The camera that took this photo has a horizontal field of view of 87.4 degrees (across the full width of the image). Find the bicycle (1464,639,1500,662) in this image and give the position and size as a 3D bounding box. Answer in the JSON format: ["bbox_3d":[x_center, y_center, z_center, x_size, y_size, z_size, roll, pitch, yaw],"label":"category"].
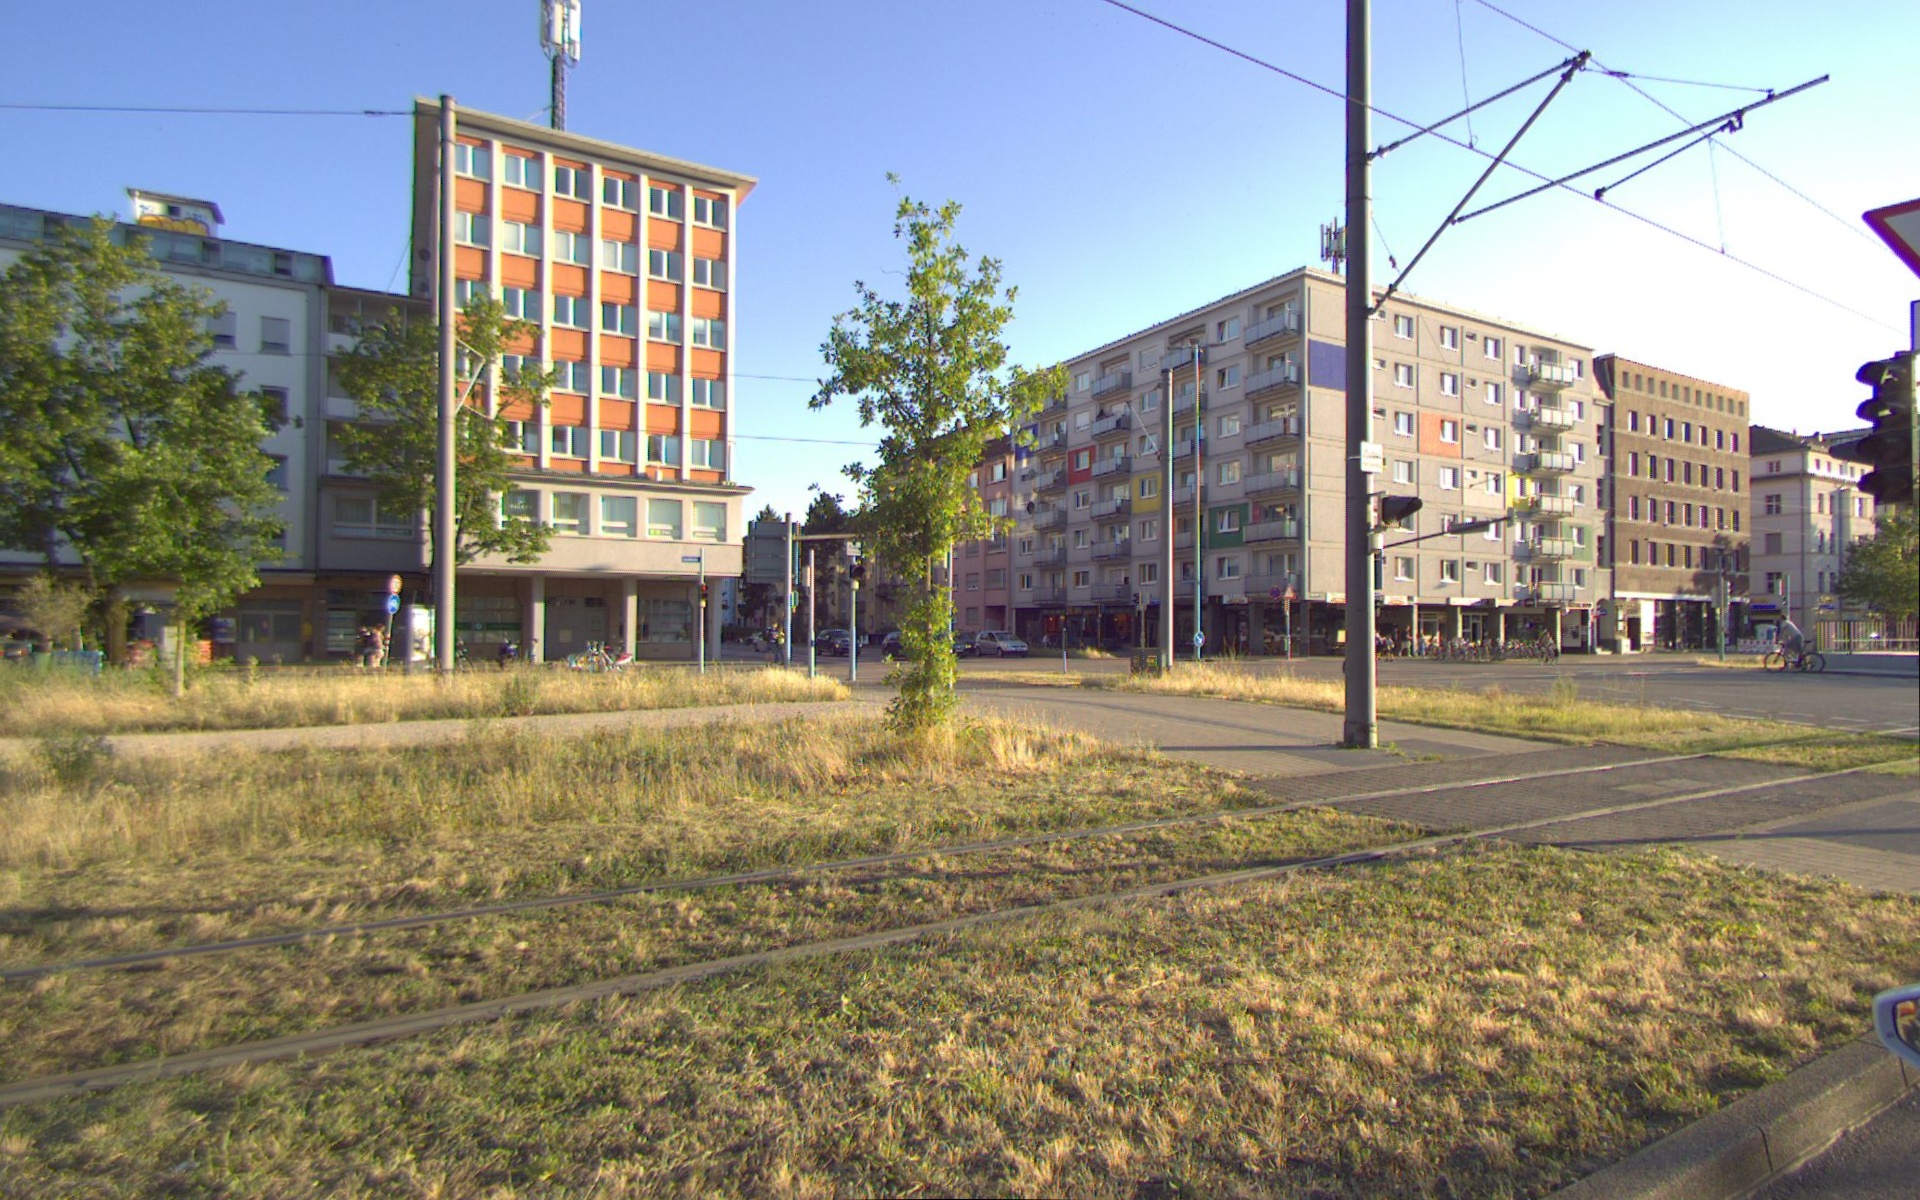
[{"bbox_3d":[28.199,2.730,54.277,0.534,1.183,1.758,1,-1,-29],"label":"bicycle"}]

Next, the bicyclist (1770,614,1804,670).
[{"bbox_3d":[27.632,1.408,33.551,0.642,1.842,0.785,1,-2,-43],"label":"bicyclist"}]

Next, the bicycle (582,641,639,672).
[{"bbox_3d":[-12.558,2.022,36.085,1.885,1.089,0.465,1,-1,-31],"label":"bicycle"}]

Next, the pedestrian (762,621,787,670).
[{"bbox_3d":[-7.569,1.857,40.970,0.708,1.972,0.720,-1,-2,43],"label":"pedestrian"}]

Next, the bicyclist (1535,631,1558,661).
[{"bbox_3d":[28.867,2.260,49.463,0.841,1.445,0.501,0,-1,-3],"label":"bicyclist"}]

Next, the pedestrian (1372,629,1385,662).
[{"bbox_3d":[21.329,2.307,51.189,0.563,1.641,0.602,0,-1,29],"label":"pedestrian"}]

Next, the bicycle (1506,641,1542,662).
[{"bbox_3d":[31.541,2.858,56.235,0.545,1.132,1.747,1,-1,-29],"label":"bicycle"}]

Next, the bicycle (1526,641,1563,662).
[{"bbox_3d":[33.216,2.927,57.094,0.696,1.168,1.684,1,-1,-28],"label":"bicycle"}]

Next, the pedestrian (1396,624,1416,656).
[{"bbox_3d":[25.832,2.316,58.174,0.715,1.836,0.820,1,-1,-40],"label":"pedestrian"}]

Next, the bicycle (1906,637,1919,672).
[{"bbox_3d":[31.515,1.759,31.854,0.534,1.098,2.147,2,-1,-38],"label":"bicycle"}]

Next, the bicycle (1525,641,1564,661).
[{"bbox_3d":[28.773,2.506,49.457,1.636,0.957,0.509,0,-1,-3],"label":"bicycle"}]

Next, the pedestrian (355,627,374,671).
[{"bbox_3d":[-24.408,2.013,41.178,0.623,1.792,0.593,1,-1,-30],"label":"pedestrian"}]

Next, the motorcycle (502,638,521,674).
[{"bbox_3d":[-17.002,2.107,38.072,0.538,1.335,1.823,1,-1,-27],"label":"motorcycle"}]

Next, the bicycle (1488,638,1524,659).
[{"bbox_3d":[30.703,2.739,56.518,0.598,1.151,1.763,1,-1,-29],"label":"bicycle"}]

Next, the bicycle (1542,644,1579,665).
[{"bbox_3d":[34.547,3.134,57.816,0.739,1.185,1.684,1,-1,-28],"label":"bicycle"}]

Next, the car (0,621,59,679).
[{"bbox_3d":[-30.093,1.472,30.237,3.927,1.706,1.997,1,-1,-9],"label":"car"}]

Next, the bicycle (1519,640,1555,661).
[{"bbox_3d":[32.605,2.873,56.803,0.626,1.139,1.720,2,-2,-28],"label":"bicycle"}]

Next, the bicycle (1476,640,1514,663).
[{"bbox_3d":[29.258,2.795,54.906,0.644,1.206,1.780,1,-2,-30],"label":"bicycle"}]

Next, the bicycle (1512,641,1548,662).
[{"bbox_3d":[32.046,2.886,56.518,0.561,1.134,1.753,1,-1,-29],"label":"bicycle"}]

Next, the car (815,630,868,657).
[{"bbox_3d":[-7.291,2.629,61.474,1.975,1.551,3.971,1,-1,-28],"label":"car"}]

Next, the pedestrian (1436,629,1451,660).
[{"bbox_3d":[26.719,2.472,55.537,0.542,1.706,0.574,1,-2,-39],"label":"pedestrian"}]

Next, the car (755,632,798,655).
[{"bbox_3d":[-13.186,3.077,72.124,1.975,1.551,3.971,1,-2,-28],"label":"car"}]

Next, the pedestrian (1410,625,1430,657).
[{"bbox_3d":[26.334,2.338,57.462,0.728,1.866,0.780,1,-2,-38],"label":"pedestrian"}]

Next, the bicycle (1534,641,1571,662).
[{"bbox_3d":[33.879,2.936,57.447,0.739,1.194,1.684,1,-1,-28],"label":"bicycle"}]

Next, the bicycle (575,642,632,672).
[{"bbox_3d":[-13.292,2.100,37.469,1.972,1.089,0.465,1,-1,-31],"label":"bicycle"}]

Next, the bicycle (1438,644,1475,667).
[{"bbox_3d":[26.812,3.001,54.302,0.601,1.157,1.768,1,-2,-29],"label":"bicycle"}]

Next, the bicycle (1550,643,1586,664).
[{"bbox_3d":[35.200,3.106,58.156,0.688,1.159,1.684,1,-1,-28],"label":"bicycle"}]

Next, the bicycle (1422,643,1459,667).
[{"bbox_3d":[25.808,2.944,53.952,0.631,1.224,1.786,1,-2,-30],"label":"bicycle"}]

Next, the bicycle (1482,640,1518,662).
[{"bbox_3d":[30.176,2.843,56.172,0.598,1.174,1.768,1,-2,-29],"label":"bicycle"}]

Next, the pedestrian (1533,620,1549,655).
[{"bbox_3d":[36.948,2.405,63.897,0.783,2.207,0.599,1,-1,-30],"label":"pedestrian"}]

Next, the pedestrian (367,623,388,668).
[{"bbox_3d":[-23.097,1.794,39.813,0.690,1.774,0.646,1,-1,-30],"label":"pedestrian"}]

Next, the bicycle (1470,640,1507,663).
[{"bbox_3d":[28.710,2.797,54.585,0.561,1.197,1.761,1,-1,-29],"label":"bicycle"}]

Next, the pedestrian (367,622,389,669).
[{"bbox_3d":[-22.747,1.782,39.263,0.696,1.816,0.590,1,-1,-30],"label":"pedestrian"}]

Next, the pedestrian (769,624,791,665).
[{"bbox_3d":[-8.265,2.039,46.094,0.879,1.855,0.885,1,-1,-20],"label":"pedestrian"}]

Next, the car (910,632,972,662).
[{"bbox_3d":[-1.120,2.578,55.726,1.974,1.505,3.974,1,-1,-26],"label":"car"}]

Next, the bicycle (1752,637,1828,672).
[{"bbox_3d":[27.670,1.798,33.511,0.628,1.089,1.883,1,-2,-42],"label":"bicycle"}]

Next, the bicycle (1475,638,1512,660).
[{"bbox_3d":[29.645,2.717,55.834,0.632,1.176,1.823,1,-2,-29],"label":"bicycle"}]

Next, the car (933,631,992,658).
[{"bbox_3d":[0.134,2.613,59.658,1.974,1.505,3.974,1,-2,-26],"label":"car"}]

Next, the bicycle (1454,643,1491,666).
[{"bbox_3d":[27.626,2.933,54.132,0.592,1.154,1.749,1,-1,-29],"label":"bicycle"}]

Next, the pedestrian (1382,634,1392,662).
[{"bbox_3d":[21.933,2.458,51.601,0.376,1.401,0.394,0,-1,32],"label":"pedestrian"}]

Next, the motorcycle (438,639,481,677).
[{"bbox_3d":[-17.851,2.046,35.825,1.373,1.335,0.378,1,-1,-28],"label":"motorcycle"}]

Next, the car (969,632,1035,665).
[{"bbox_3d":[2.302,2.649,55.551,1.974,1.506,3.973,2,1,-26],"label":"car"}]

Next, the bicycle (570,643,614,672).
[{"bbox_3d":[-14.126,2.213,38.569,1.543,1.089,0.392,1,-1,-31],"label":"bicycle"}]
